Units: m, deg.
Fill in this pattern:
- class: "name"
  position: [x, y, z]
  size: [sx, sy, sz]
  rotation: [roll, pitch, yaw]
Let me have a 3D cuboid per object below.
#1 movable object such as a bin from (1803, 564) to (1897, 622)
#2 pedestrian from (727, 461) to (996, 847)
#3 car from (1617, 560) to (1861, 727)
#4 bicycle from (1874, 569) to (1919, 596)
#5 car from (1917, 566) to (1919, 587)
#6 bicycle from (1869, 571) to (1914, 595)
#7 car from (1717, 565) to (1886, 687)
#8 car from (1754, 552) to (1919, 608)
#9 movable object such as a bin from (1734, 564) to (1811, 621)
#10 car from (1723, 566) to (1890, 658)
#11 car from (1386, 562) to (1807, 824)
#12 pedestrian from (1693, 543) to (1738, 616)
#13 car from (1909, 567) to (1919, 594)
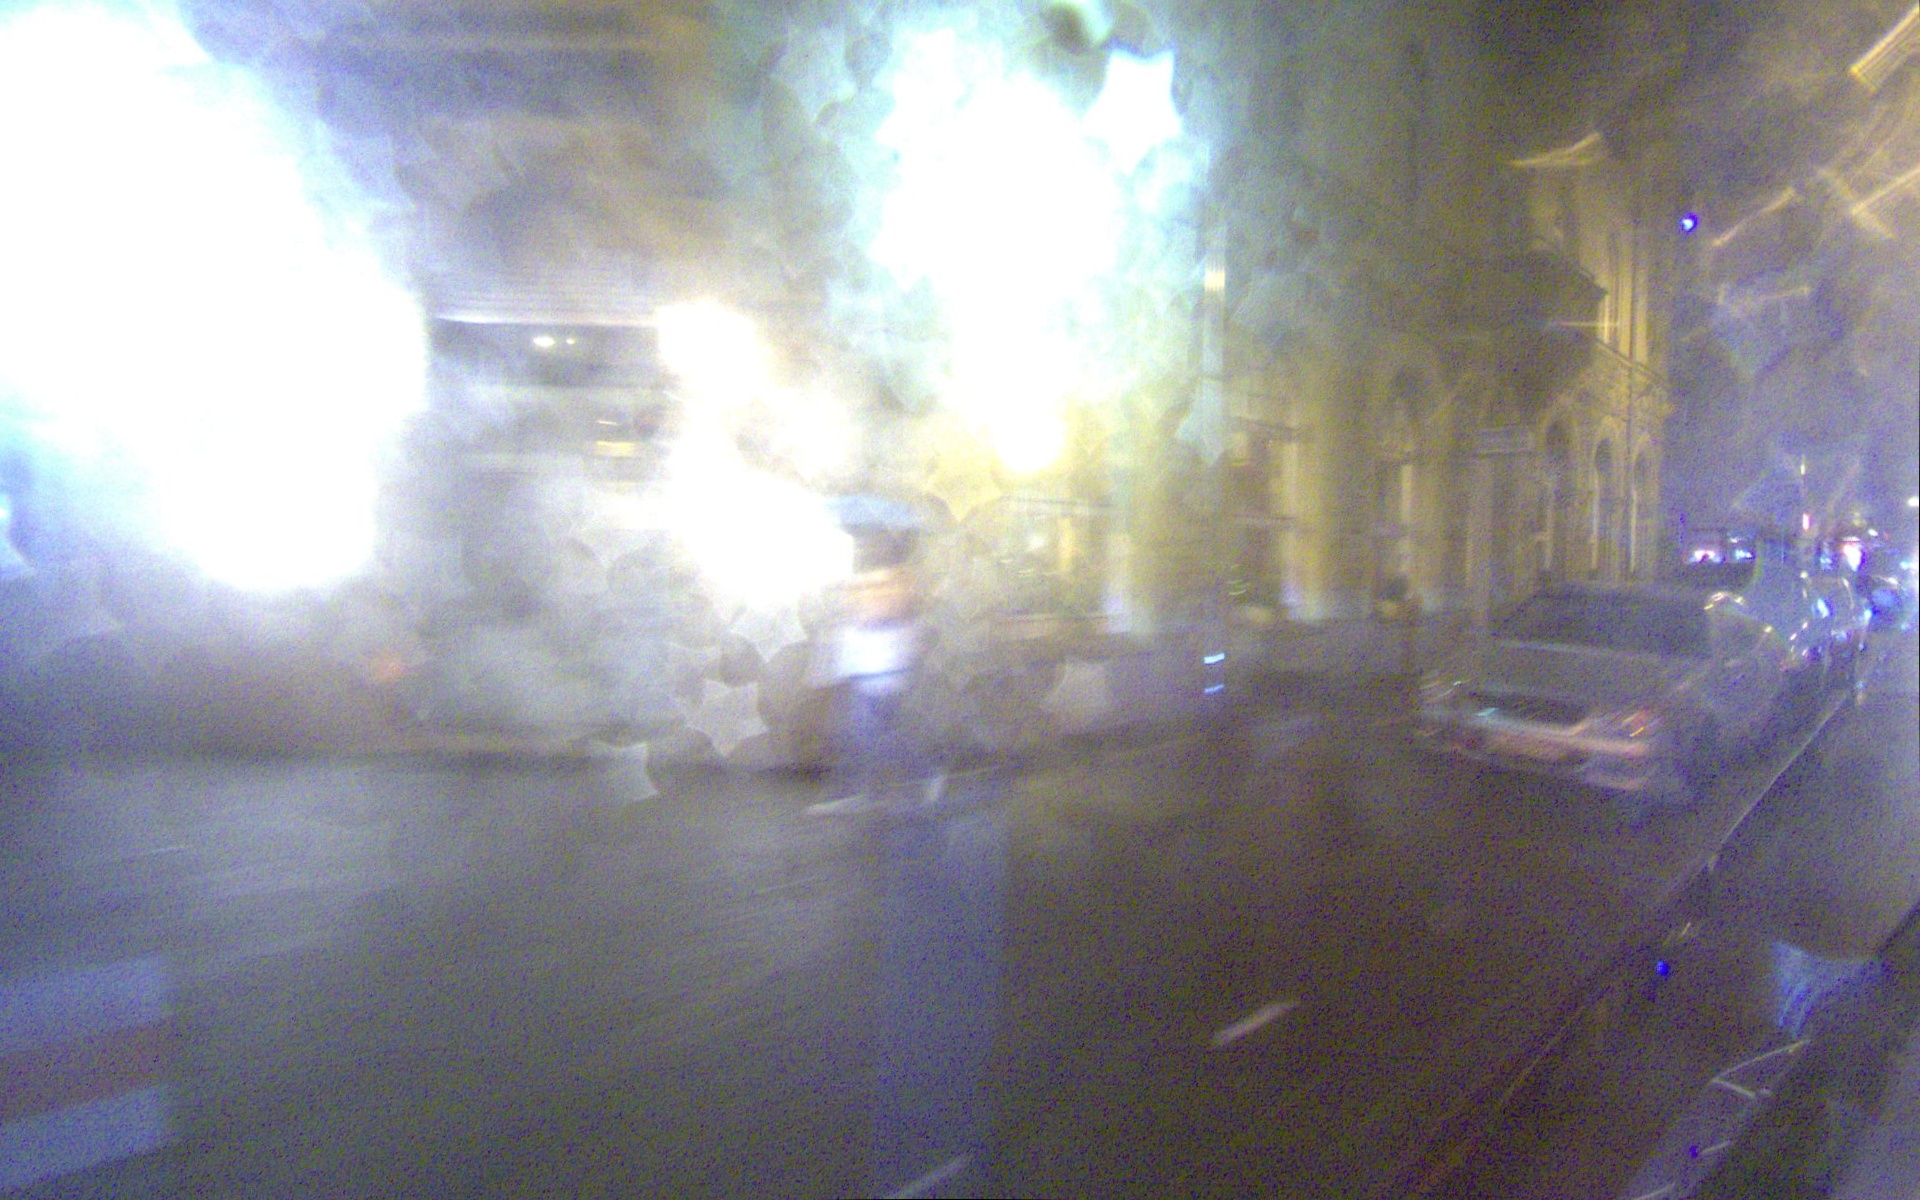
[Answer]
- class: "movable object such as a bin"
  position: [22.917, -0.203, 26.104]
  size: [1.319, 1.447, 1.198]
  rotation: [1, 2, 9]
- class: "pedestrian"
  position: [-0.528, 0.227, 5.413]
  size: [1.064, 1.810, 0.864]
  rotation: [0, 3, -41]
- class: "car"
  position: [8.830, 0.336, 11.353]
  size: [1.690, 1.516, 3.829]
  rotation: [3, 4, 44]
- class: "bicycle"
  position: [48.822, -0.941, 52.763]
  size: [0.360, 1.215, 1.533]
  rotation: [-2, 9, -41]
- class: "car"
  position: [72.522, -1.731, 75.201]
  size: [4.095, 1.525, 1.843]
  rotation: [-2, 4, -44]
- class: "bicycle"
  position: [45.513, -0.848, 49.458]
  size: [1.529, 0.963, 0.361]
  rotation: [10, 9, 42]
- class: "car"
  position: [12.443, 0.268, 14.960]
  size: [1.688, 1.516, 3.834]
  rotation: [3, 3, 41]
- class: "car"
  position: [30.915, -0.754, 35.517]
  size: [1.751, 1.548, 4.519]
  rotation: [-2, 7, -45]
- class: "movable object such as a bin"
  position: [21.537, -0.222, 26.830]
  size: [1.030, 1.447, 1.314]
  rotation: [-1, 3, -35]
- class: "car"
  position: [15.876, 0.118, 18.898]
  size: [1.995, 1.482, 4.346]
  rotation: [3, 4, 45]
- class: "car"
  position: [5.017, 0.452, 7.742]
  size: [1.918, 1.429, 3.937]
  rotation: [3, 4, 44]
- class: "pedestrian"
  position: [19.297, -0.520, 25.839]
  size: [0.613, 1.810, 0.704]
  rotation: [0, 3, -41]
- class: "car"
  position: [64.460, -1.275, 67.388]
  size: [3.794, 1.743, 1.674]
  rotation: [-2, 4, -44]
